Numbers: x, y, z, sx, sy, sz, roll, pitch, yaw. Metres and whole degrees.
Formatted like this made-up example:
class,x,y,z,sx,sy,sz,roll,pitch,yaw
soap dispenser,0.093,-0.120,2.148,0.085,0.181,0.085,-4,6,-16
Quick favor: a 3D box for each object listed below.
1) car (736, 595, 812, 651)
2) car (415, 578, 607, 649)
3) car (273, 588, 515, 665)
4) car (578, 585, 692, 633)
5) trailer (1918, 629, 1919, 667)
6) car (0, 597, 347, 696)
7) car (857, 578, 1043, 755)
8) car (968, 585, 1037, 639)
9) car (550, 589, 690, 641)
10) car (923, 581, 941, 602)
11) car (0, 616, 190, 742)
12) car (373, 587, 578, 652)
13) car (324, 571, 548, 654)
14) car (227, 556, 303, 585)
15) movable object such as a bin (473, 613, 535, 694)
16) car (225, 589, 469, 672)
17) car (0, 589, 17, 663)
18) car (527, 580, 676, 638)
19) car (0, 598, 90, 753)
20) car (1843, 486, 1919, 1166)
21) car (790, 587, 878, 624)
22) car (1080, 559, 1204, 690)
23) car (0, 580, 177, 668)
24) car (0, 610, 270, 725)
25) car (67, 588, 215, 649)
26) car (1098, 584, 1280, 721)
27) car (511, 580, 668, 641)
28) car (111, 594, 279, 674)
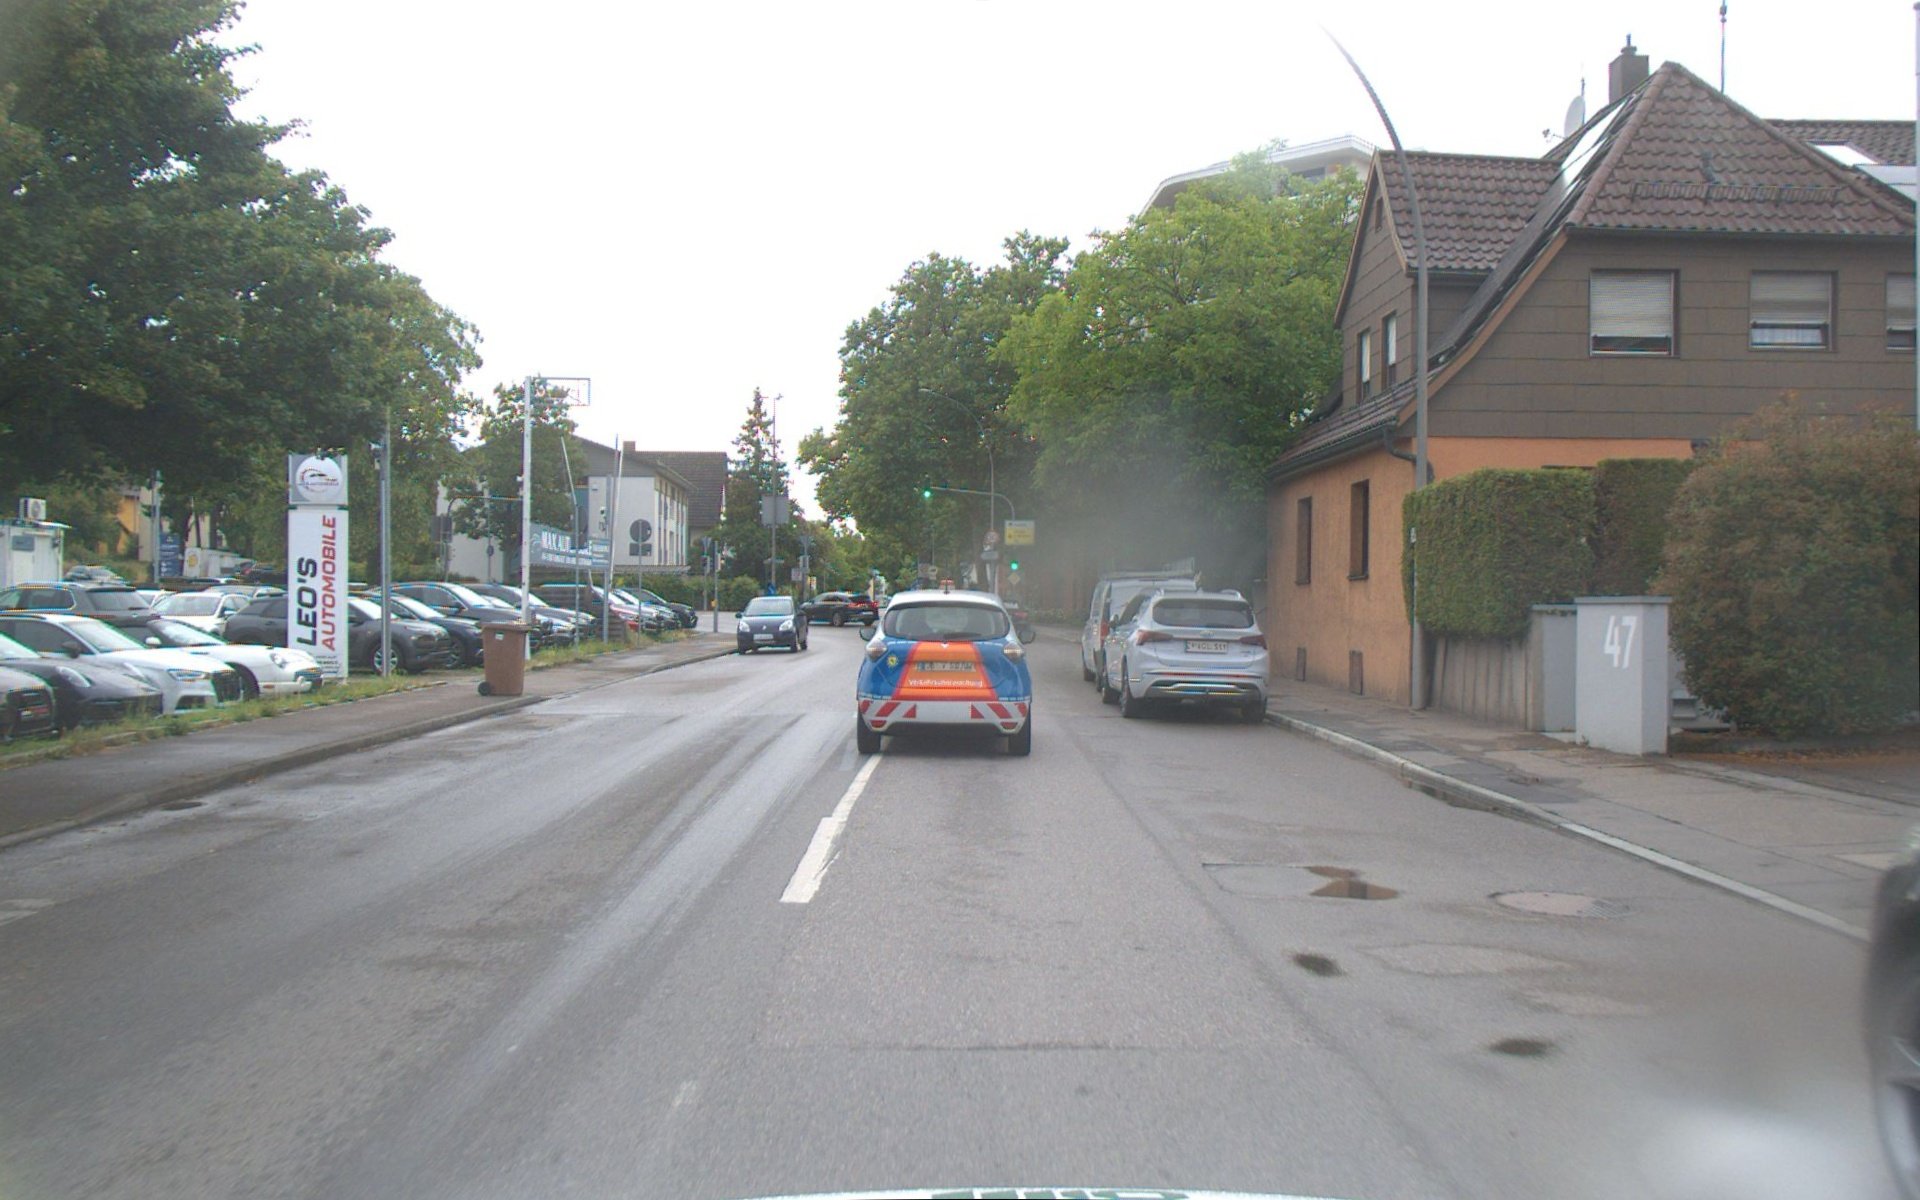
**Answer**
class,x,y,z,sx,sy,sz,roll,pitch,yaw
car,-5.033,0.588,45.150,1.593,1.458,3.684,0,0,1
car,-11.221,0.327,41.537,4.258,1.720,1.959,1,0,0
car,-11.513,0.514,33.867,4.258,1.489,1.941,1,0,0
car,-11.416,0.300,58.236,3.875,1.557,1.618,1,1,-11
trailer,10.596,0.760,16.210,1.878,1.052,0.919,-4,1,-6
car,-11.286,0.634,23.661,4.361,1.355,1.771,0,0,-1
car,-0.119,0.583,17.192,1.710,1.608,4.000,0,1,-1
car,1.420,0.354,53.428,1.951,1.601,4.003,2,1,5
car,-10.485,0.456,51.154,3.904,1.466,1.804,1,1,1
car,-2.768,-0.865,162.751,1.611,2.052,3.713,1,1,-3
car,-11.427,0.867,18.783,4.465,1.332,1.889,0,0,-1
car,-11.374,0.448,39.042,4.258,1.457,1.959,1,0,0
car,-11.482,0.261,36.441,4.258,1.721,2.058,1,0,0
car,-43.723,-1.842,104.108,1.961,1.753,3.984,2,1,36
movable object such as a bin,-6.670,0.778,24.215,0.693,1.149,0.735,1,0,-1
car,-11.558,0.561,31.369,3.905,1.489,1.839,1,0,0
car,-22.148,0.539,34.461,3.907,1.557,1.836,0,0,-3
car,-10.510,0.252,48.674,3.904,1.571,1.804,1,1,1
car,-11.292,0.708,16.223,4.468,1.443,1.896,0,0,-5
car,3.456,0.630,2.184,2.048,1.691,4.558,2,1,-1
car,-5.375,0.221,70.311,1.782,1.453,3.944,1,2,-39
car,3.098,0.341,28.996,1.741,2.064,4.755,2,1,2
car,-16.716,0.405,30.451,3.903,1.525,1.938,0,0,18
car,-11.439,0.837,21.326,4.287,1.398,1.889,0,0,-1
car,-19.961,0.414,40.491,1.657,1.422,4.000,0,0,0
car,3.059,0.656,22.957,1.828,1.694,4.319,1,0,-1
car,-10.240,0.265,45.893,3.904,1.571,1.804,1,1,1
car,-15.888,0.666,34.579,1.657,1.557,4.000,0,0,0
